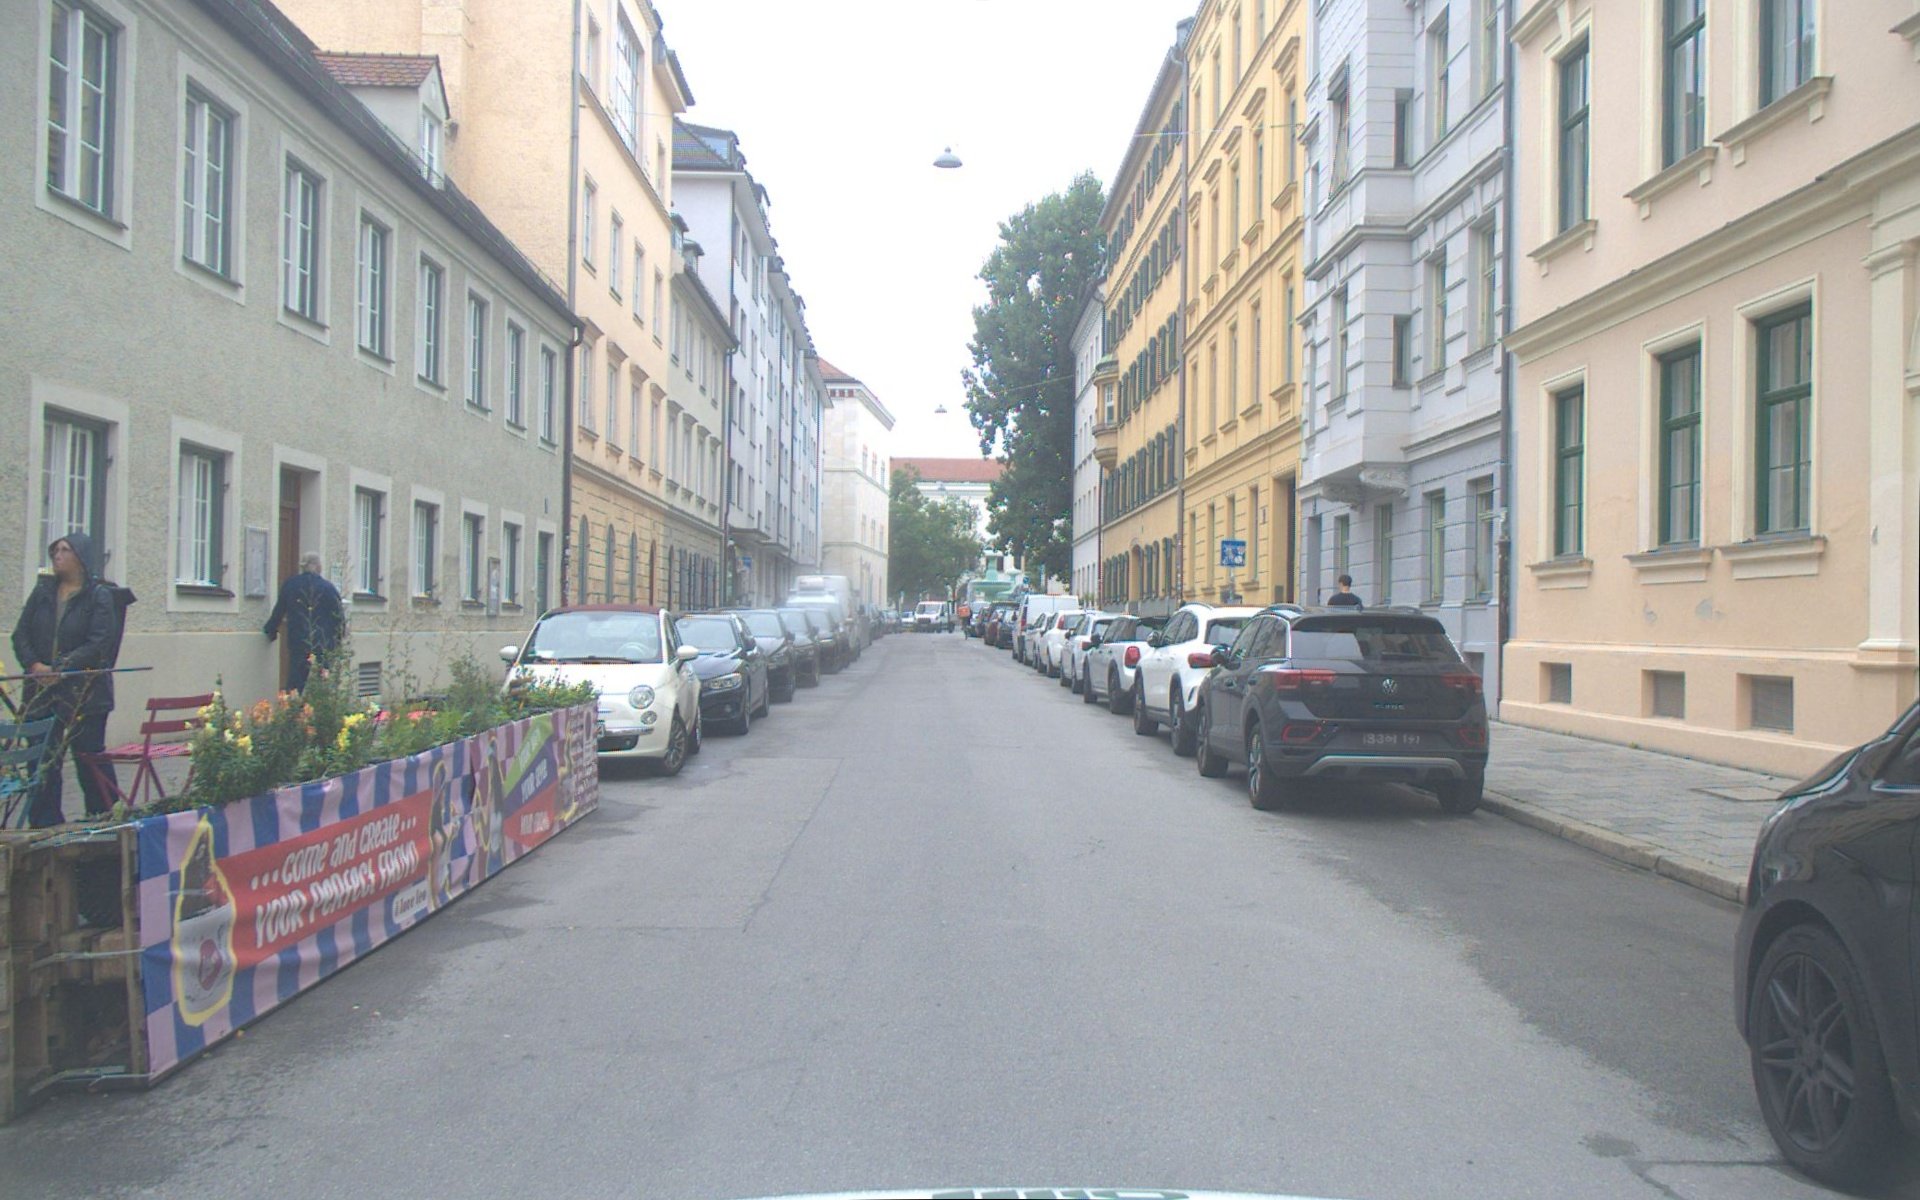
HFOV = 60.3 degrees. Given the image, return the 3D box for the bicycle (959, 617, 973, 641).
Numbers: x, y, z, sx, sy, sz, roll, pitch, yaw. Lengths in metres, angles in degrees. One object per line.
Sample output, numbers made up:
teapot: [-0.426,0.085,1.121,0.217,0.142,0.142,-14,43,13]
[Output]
bicycle: [0.295,1.400,78.914,0.661,1.114,1.760,1,-2,0]

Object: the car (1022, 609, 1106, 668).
car: [2.624,0.972,42.571,1.674,1.417,4.203,1,-1,-3]

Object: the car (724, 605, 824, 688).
car: [-3.507,0.843,31.800,1.780,1.467,4.127,0,0,-5]

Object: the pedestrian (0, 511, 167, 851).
pedestrian: [-4.940,0.444,9.281,0.518,1.813,0.877,1,-2,-1]

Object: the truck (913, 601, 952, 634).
truck: [-1.959,1.307,119.823,2.076,2.287,6.189,0,-1,6]

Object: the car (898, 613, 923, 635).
car: [-3.676,1.775,123.589,1.671,1.609,3.863,0,-1,1]

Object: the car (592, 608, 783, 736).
car: [-3.304,0.818,20.878,1.762,1.363,4.683,1,0,-2]

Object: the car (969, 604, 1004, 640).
car: [1.485,1.247,94.313,1.814,1.953,4.768,1,-1,-1]

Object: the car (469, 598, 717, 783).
car: [-3.347,0.772,15.722,1.720,1.501,3.711,2,-1,-4]

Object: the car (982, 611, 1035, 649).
car: [1.947,1.202,67.531,1.775,1.449,4.244,2,-1,-3]

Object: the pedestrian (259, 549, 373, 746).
pedestrian: [-6.501,0.481,16.739,0.806,1.931,0.827,1,-2,-2]

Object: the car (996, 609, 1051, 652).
car: [2.369,1.142,62.776,1.775,1.490,4.245,2,-1,-1]

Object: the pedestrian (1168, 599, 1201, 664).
pedestrian: [5.621,0.794,41.437,0.647,1.599,0.642,-2,-2,-2]

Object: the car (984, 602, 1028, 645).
car: [2.036,1.067,74.514,1.775,1.829,4.246,2,-1,-1]

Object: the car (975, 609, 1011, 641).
car: [1.746,1.312,88.441,1.775,1.642,4.155,1,-1,-1]

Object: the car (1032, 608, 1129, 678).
car: [2.704,0.949,37.890,1.674,1.480,4.094,1,-1,-3]

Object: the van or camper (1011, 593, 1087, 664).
van or camper: [2.515,0.803,47.737,1.796,1.904,5.077,1,-1,-1]

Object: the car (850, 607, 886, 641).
car: [-4.507,1.163,81.059,1.672,1.638,3.861,0,-1,-2]

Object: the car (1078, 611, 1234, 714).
car: [2.934,0.912,25.582,1.674,1.429,4.204,1,-1,-3]

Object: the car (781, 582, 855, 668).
car: [-3.619,0.623,42.076,1.720,2.030,4.620,1,-1,-5]

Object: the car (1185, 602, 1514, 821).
car: [3.108,0.831,14.088,1.719,1.548,4.273,1,-1,-1]

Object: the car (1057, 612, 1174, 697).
car: [2.854,0.976,31.222,1.673,1.433,4.813,1,-1,-1]

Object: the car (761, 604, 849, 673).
car: [-3.403,0.834,36.997,1.719,1.433,4.101,1,-1,-2]

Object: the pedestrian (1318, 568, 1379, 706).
pedestrian: [5.856,0.558,24.978,0.656,2.015,0.708,-2,-2,-1]

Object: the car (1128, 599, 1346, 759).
car: [3.079,0.835,19.231,1.707,1.611,4.465,1,-1,-1]

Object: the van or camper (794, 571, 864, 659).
van or camper: [-3.683,0.436,47.281,1.719,2.321,5.271,1,-1,-2]

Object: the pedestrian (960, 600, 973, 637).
pedestrian: [0.303,0.867,78.935,0.629,1.744,0.842,1,-2,-1]

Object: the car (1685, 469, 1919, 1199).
car: [3.301,0.646,2.669,1.956,1.897,5.253,1,0,0]

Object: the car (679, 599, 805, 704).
car: [-3.444,0.789,26.769,1.720,1.522,4.197,1,-1,-4]

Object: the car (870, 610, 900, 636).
car: [-4.915,1.517,108.921,1.671,1.638,3.863,0,-1,1]
